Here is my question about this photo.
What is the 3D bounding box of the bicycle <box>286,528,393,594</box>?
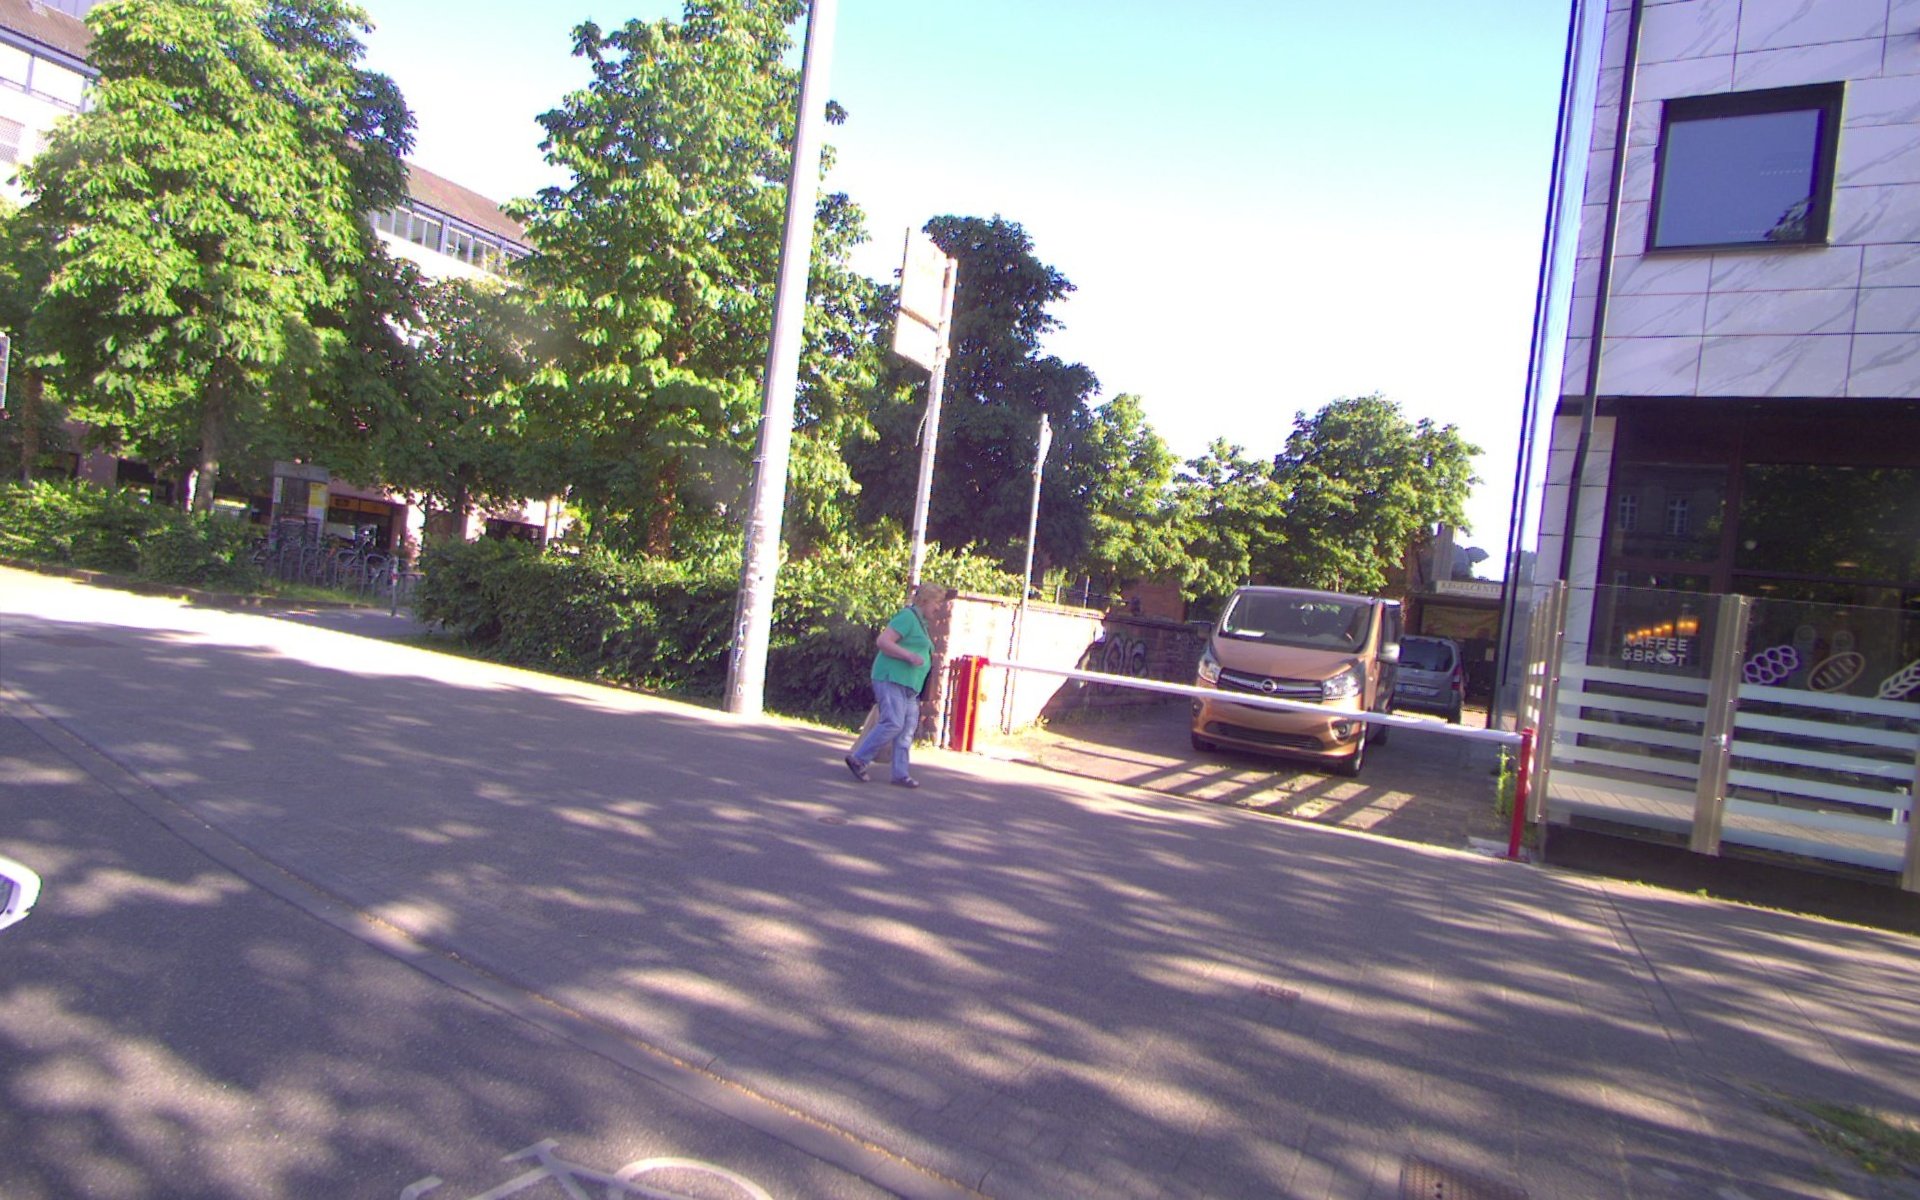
[{"bbox_3d":[-14.302,-0.873,23.243,0.564,1.331,1.998,7,1,30],"label":"bicycle"}]

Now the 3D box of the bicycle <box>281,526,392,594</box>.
[{"bbox_3d":[-13.973,-0.869,22.603,0.564,1.331,1.998,7,1,30],"label":"bicycle"}]

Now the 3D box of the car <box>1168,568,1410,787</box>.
[{"bbox_3d":[4.289,0.810,12.500,1.880,2.011,4.902,6,2,28],"label":"car"}]

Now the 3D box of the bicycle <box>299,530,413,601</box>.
[{"bbox_3d":[-12.968,-0.721,21.664,0.564,1.331,1.998,7,1,30],"label":"bicycle"}]

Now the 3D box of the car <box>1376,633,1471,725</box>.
[{"bbox_3d":[10.312,1.718,22.264,1.567,1.692,3.616,6,0,28],"label":"car"}]

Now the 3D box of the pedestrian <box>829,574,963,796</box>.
[{"bbox_3d":[-0.522,0.641,7.893,0.818,1.595,0.737,5,1,-11],"label":"pedestrian"}]
